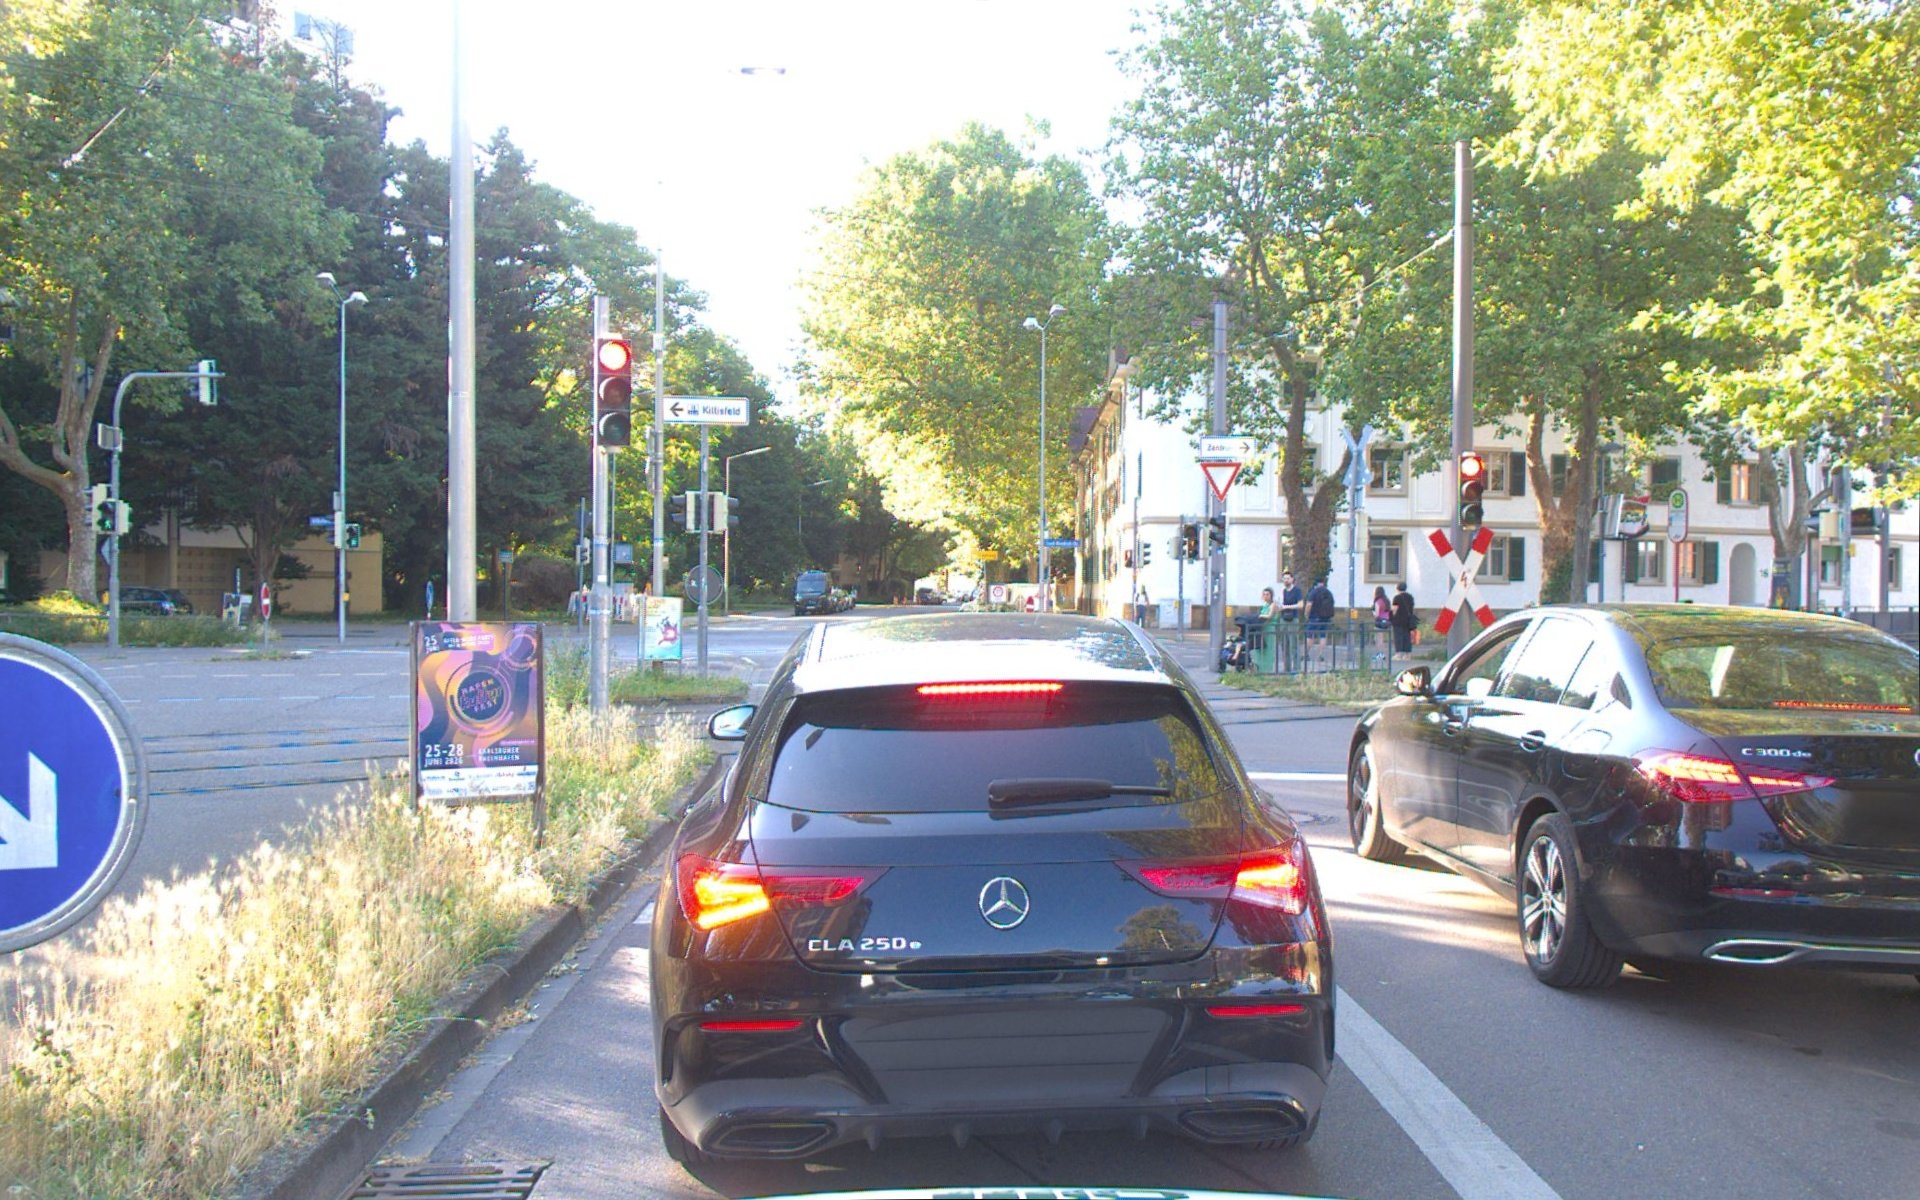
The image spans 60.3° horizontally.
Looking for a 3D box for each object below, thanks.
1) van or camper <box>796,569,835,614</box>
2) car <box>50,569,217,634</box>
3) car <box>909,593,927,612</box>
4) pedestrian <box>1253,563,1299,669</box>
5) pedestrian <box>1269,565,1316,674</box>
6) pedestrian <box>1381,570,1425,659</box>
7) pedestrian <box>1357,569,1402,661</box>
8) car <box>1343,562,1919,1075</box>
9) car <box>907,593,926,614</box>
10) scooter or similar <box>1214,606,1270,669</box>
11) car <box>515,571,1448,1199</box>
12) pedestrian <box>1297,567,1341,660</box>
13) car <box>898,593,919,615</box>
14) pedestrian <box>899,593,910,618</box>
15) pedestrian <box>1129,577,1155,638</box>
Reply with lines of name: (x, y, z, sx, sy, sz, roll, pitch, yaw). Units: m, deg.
van or camper: (-8.683, -0.479, 99.610, 1.953, 2.586, 4.650, 1, 0, -1)
car: (-24.378, 0.046, 48.846, 3.902, 1.805, 2.001, 1, 0, 7)
car: (-4.000, 0.213, 158.398, 1.698, 1.796, 4.018, 1, 0, -1)
pedestrian: (5.912, 0.307, 30.972, 0.669, 1.951, 0.706, 1, -1, -5)
pedestrian: (6.069, 0.360, 30.202, 0.669, 1.951, 0.707, 1, -1, -3)
pedestrian: (9.858, 0.317, 36.811, 0.691, 1.951, 0.838, 1, -1, -4)
pedestrian: (9.067, 0.329, 35.799, 0.691, 1.951, 0.838, 1, -1, -4)
car: (3.155, 0.643, 7.331, 1.851, 1.516, 4.382, 1, 2, 0)
car: (-3.951, 0.324, 150.315, 1.698, 1.796, 4.018, 1, 0, -1)
scooter or similar: (5.174, 0.683, 30.381, 0.812, 1.124, 0.808, 1, 0, -6)
car: (0.057, 0.705, 5.320, 1.851, 1.475, 4.001, 1, 2, 0)
pedestrian: (7.670, 0.288, 35.361, 0.691, 1.951, 0.838, 1, -1, -4)
car: (-4.526, 0.355, 145.485, 1.698, 1.796, 4.018, 1, 0, -1)
pedestrian: (-4.362, 0.460, 129.950, 0.692, 1.951, 0.837, 1, -1, -11)
pedestrian: (5.945, 0.246, 54.127, 0.691, 1.951, 0.838, 1, -1, -4)
